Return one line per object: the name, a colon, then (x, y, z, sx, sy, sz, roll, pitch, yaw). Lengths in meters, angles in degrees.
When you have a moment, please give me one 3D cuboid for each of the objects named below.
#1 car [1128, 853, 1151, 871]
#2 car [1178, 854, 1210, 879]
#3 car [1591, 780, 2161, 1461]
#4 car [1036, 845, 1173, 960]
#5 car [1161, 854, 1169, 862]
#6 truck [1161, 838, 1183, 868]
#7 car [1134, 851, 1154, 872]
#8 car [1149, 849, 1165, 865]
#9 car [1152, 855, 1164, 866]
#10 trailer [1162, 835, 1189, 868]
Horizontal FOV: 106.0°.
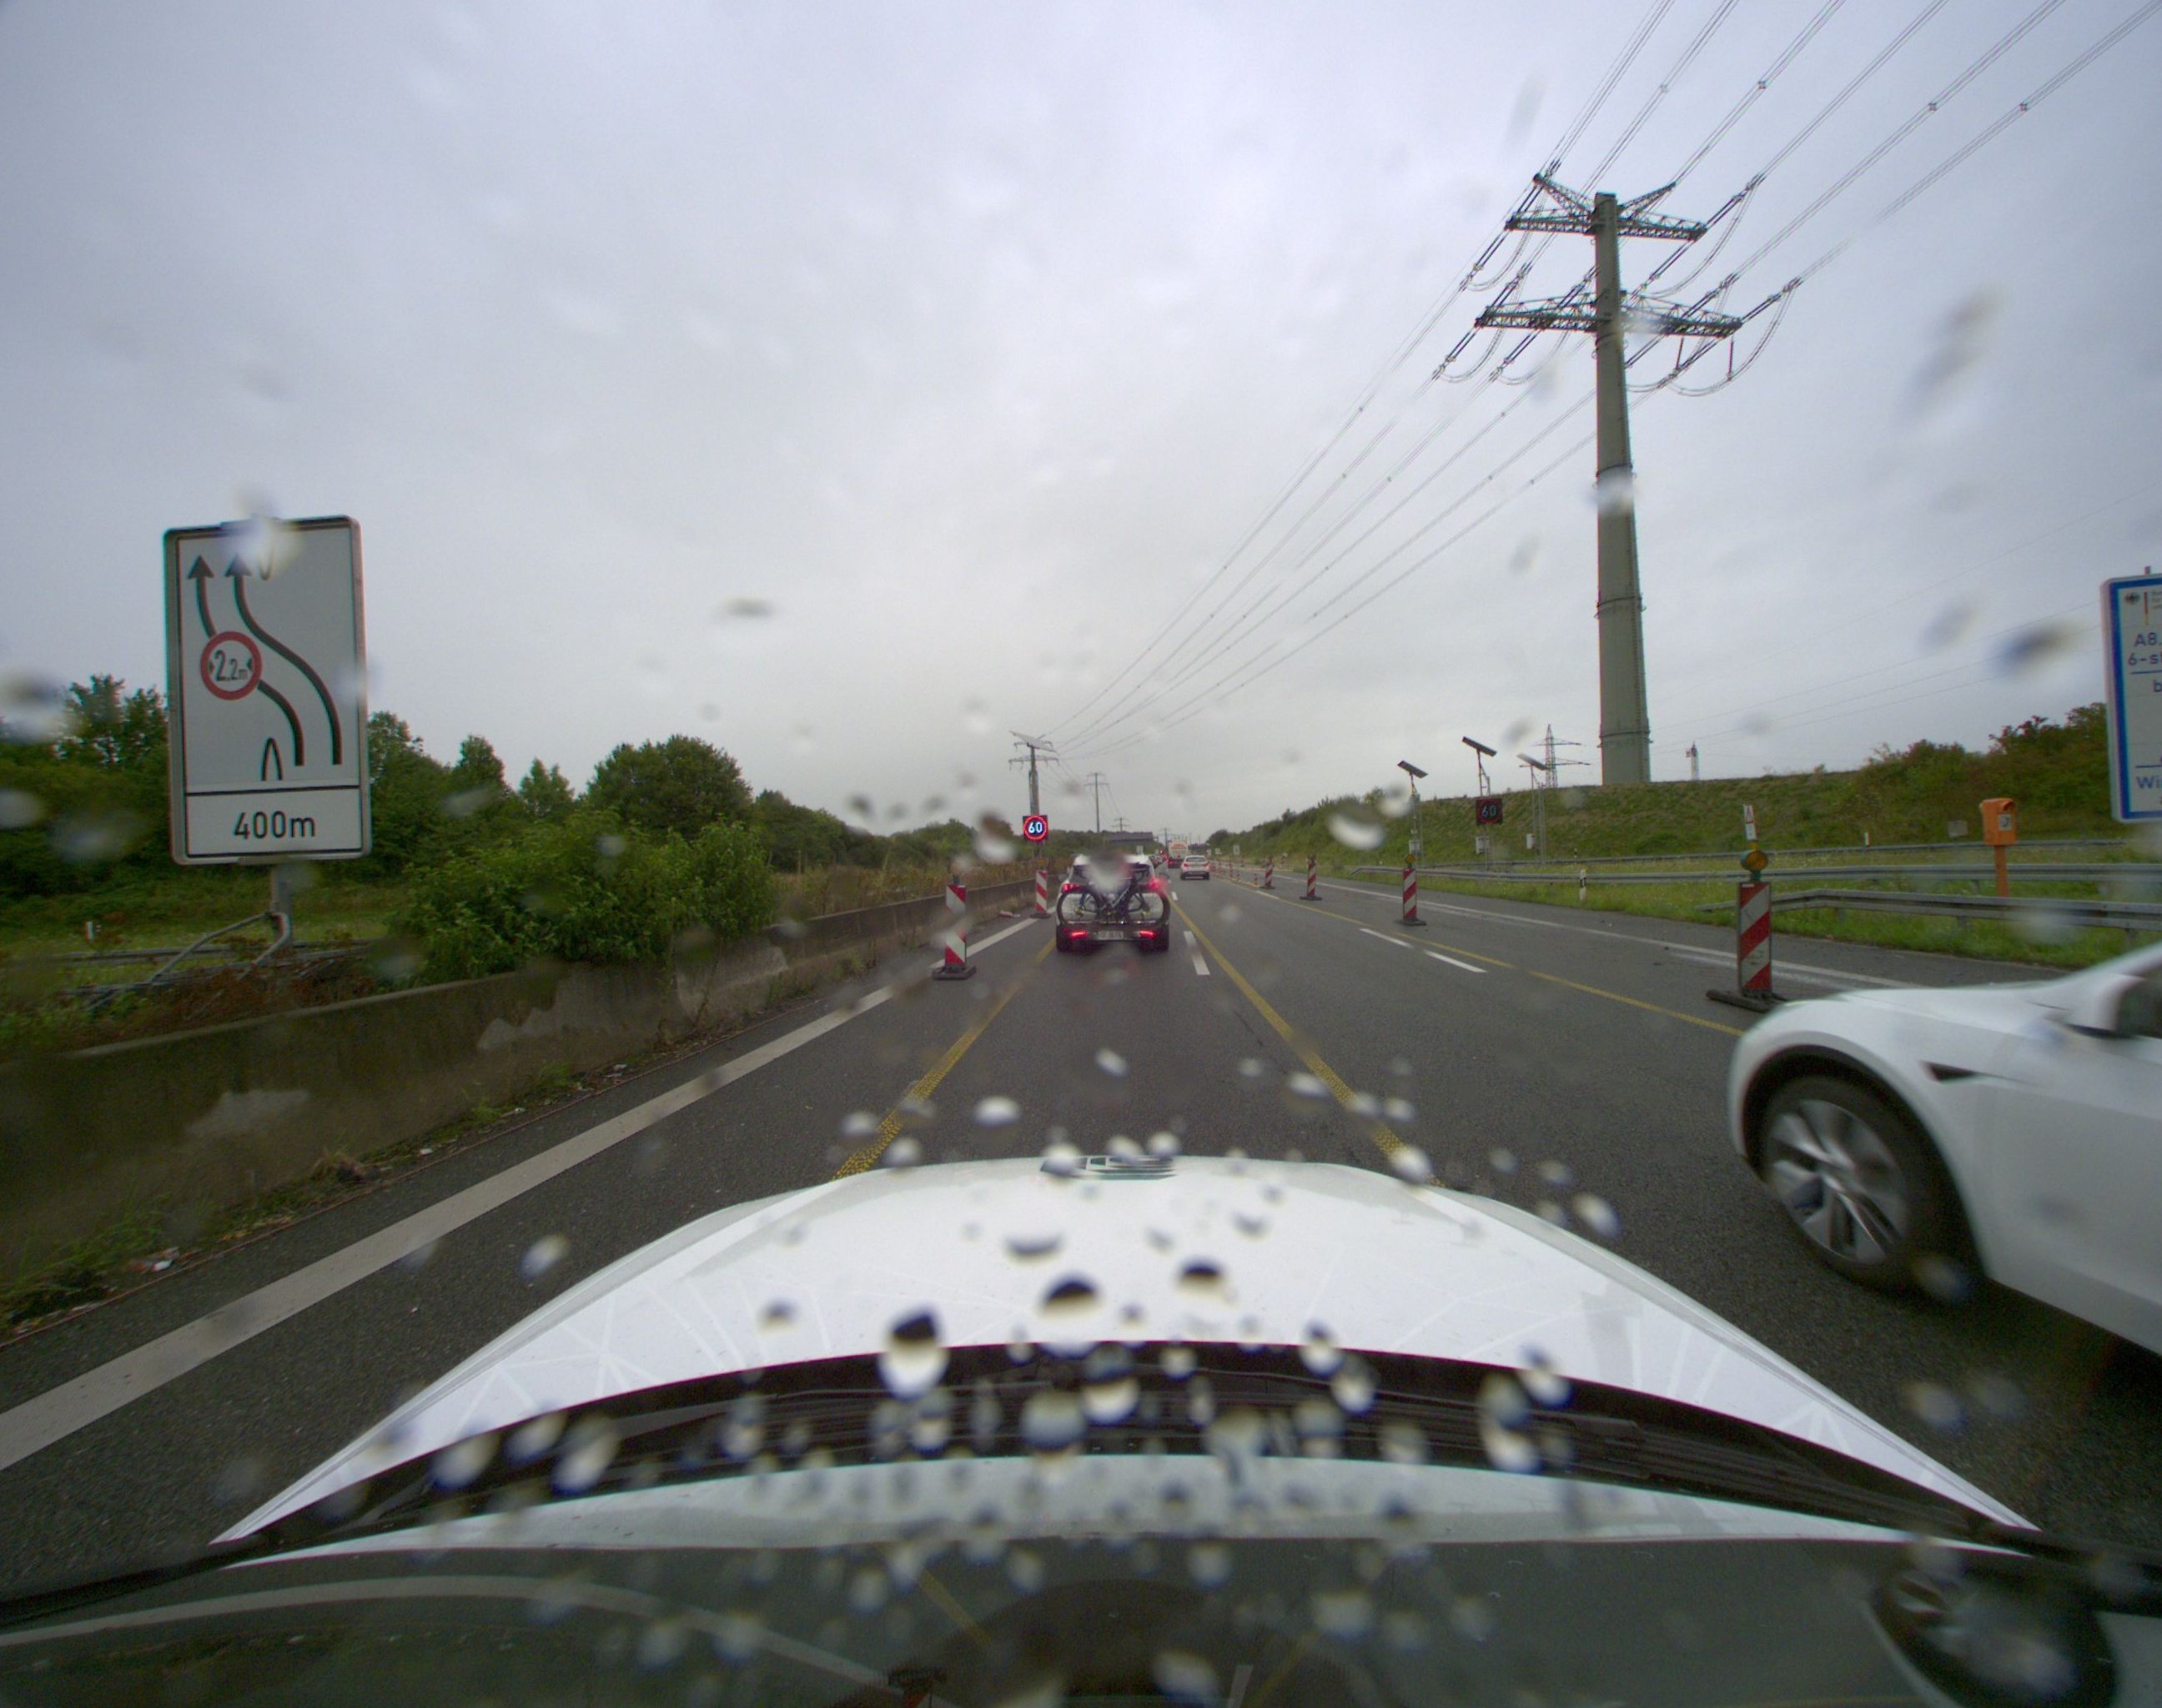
car: (5.295, 0.730, 73.893, 1.986, 1.584, 4.002, -1, 0, 2)
car: (7.231, 0.798, 52.541, 1.860, 1.535, 4.203, -1, 0, 6)
car: (3.519, 0.613, 1.257, 2.037, 1.596, 5.805, 0, 0, 2)
car: (0.524, 0.698, 13.885, 1.919, 1.611, 4.601, -1, 0, 5)
car: (19.931, 0.954, 192.685, 1.645, 2.014, 4.007, -1, 0, 7)
truck: (12.299, -0.111, 110.134, 2.634, 3.891, 4.032, 0, -1, 2)
car: (6.682, 0.778, 86.812, 1.985, 2.013, 4.003, -3, 0, 2)
car: (10.101, 0.481, 108.307, 1.985, 2.014, 4.002, 0, -2, 3)
car: (13.933, 1.149, 147.467, 1.985, 2.014, 4.002, 0, -1, 3)
trailer: (11.995, -0.212, 103.723, 2.627, 3.893, 10.549, 0, -1, 3)
